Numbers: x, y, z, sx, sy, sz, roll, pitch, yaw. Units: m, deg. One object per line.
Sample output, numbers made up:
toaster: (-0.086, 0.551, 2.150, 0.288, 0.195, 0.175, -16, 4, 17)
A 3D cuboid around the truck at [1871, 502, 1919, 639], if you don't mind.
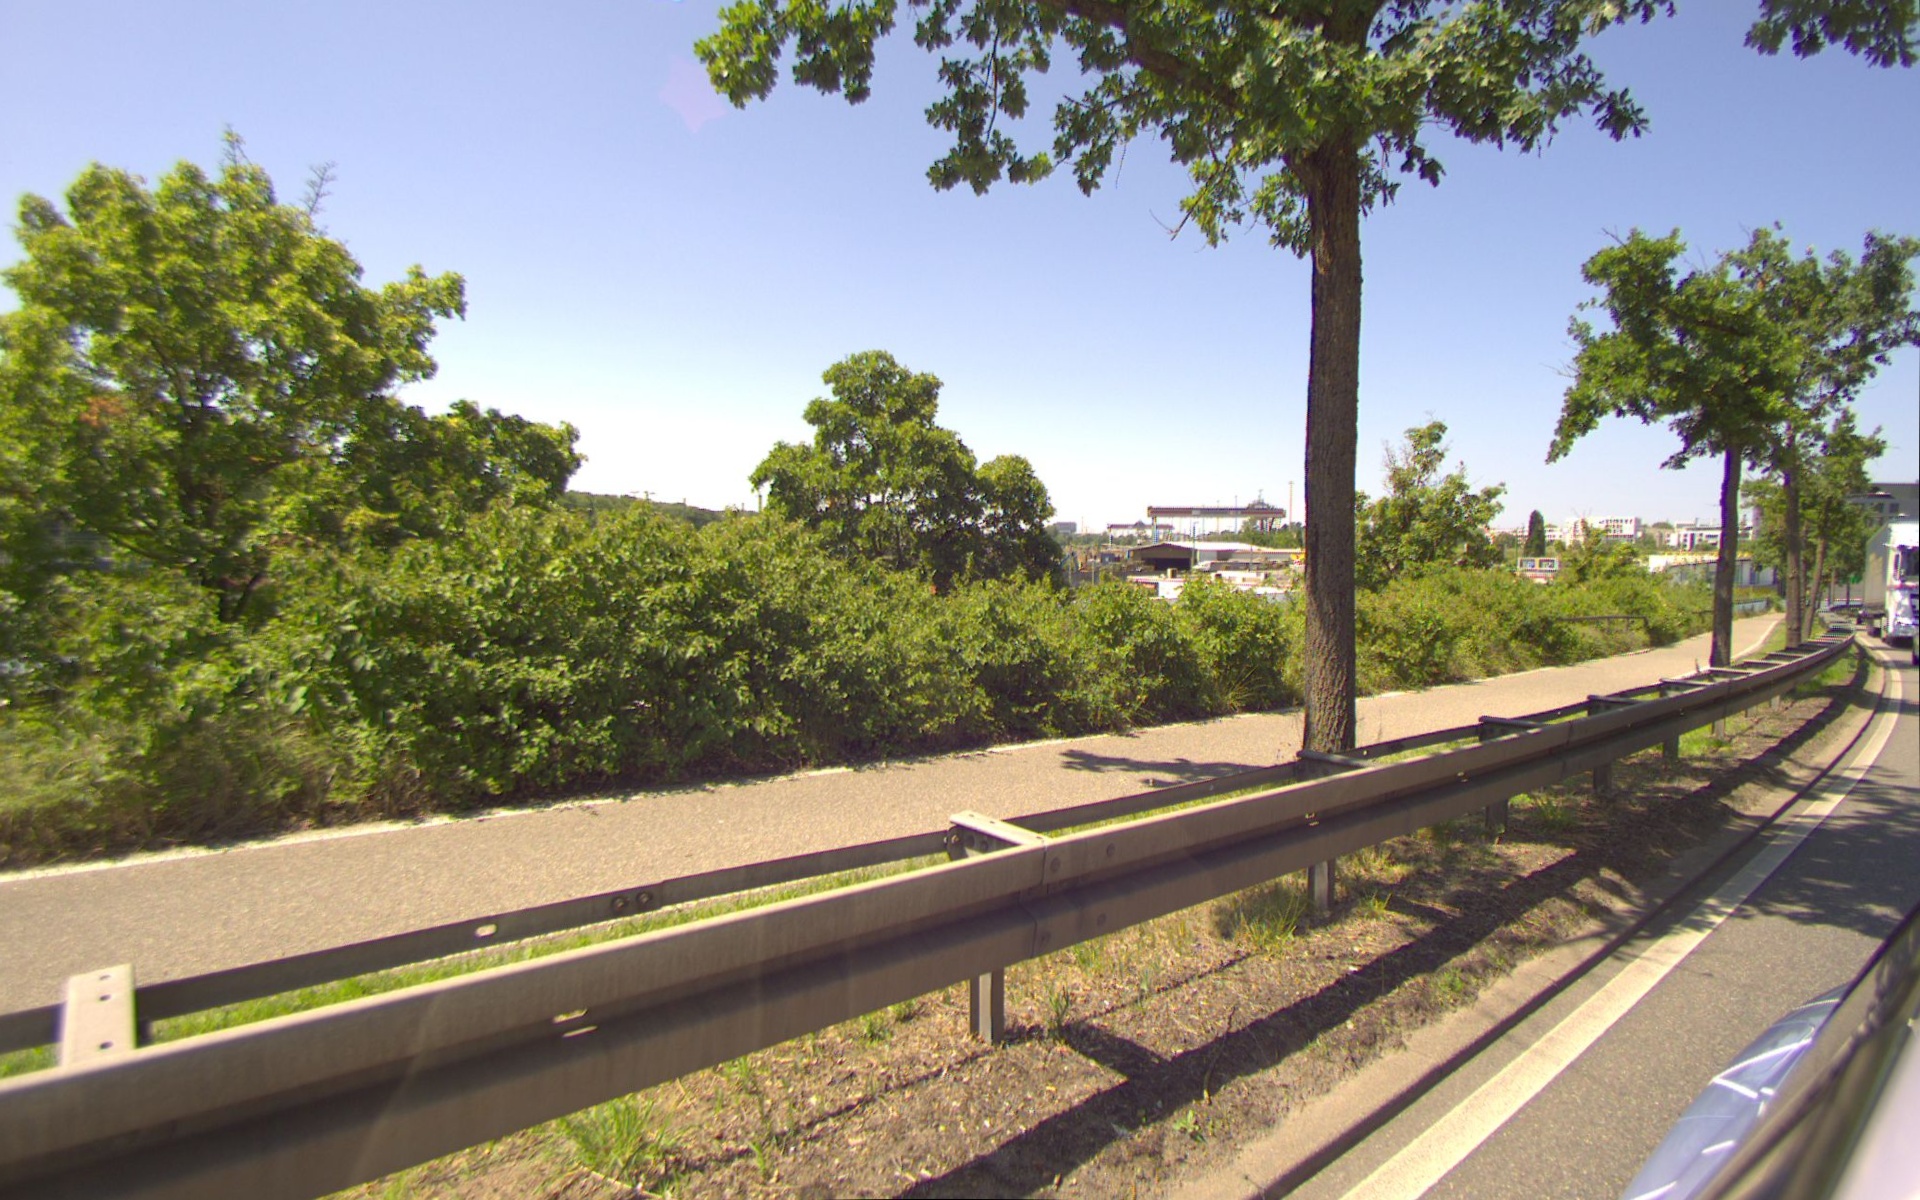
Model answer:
truck: (35.637, -0.978, 36.806, 3.058, 4.223, 16.668, 0, 1, 40)
